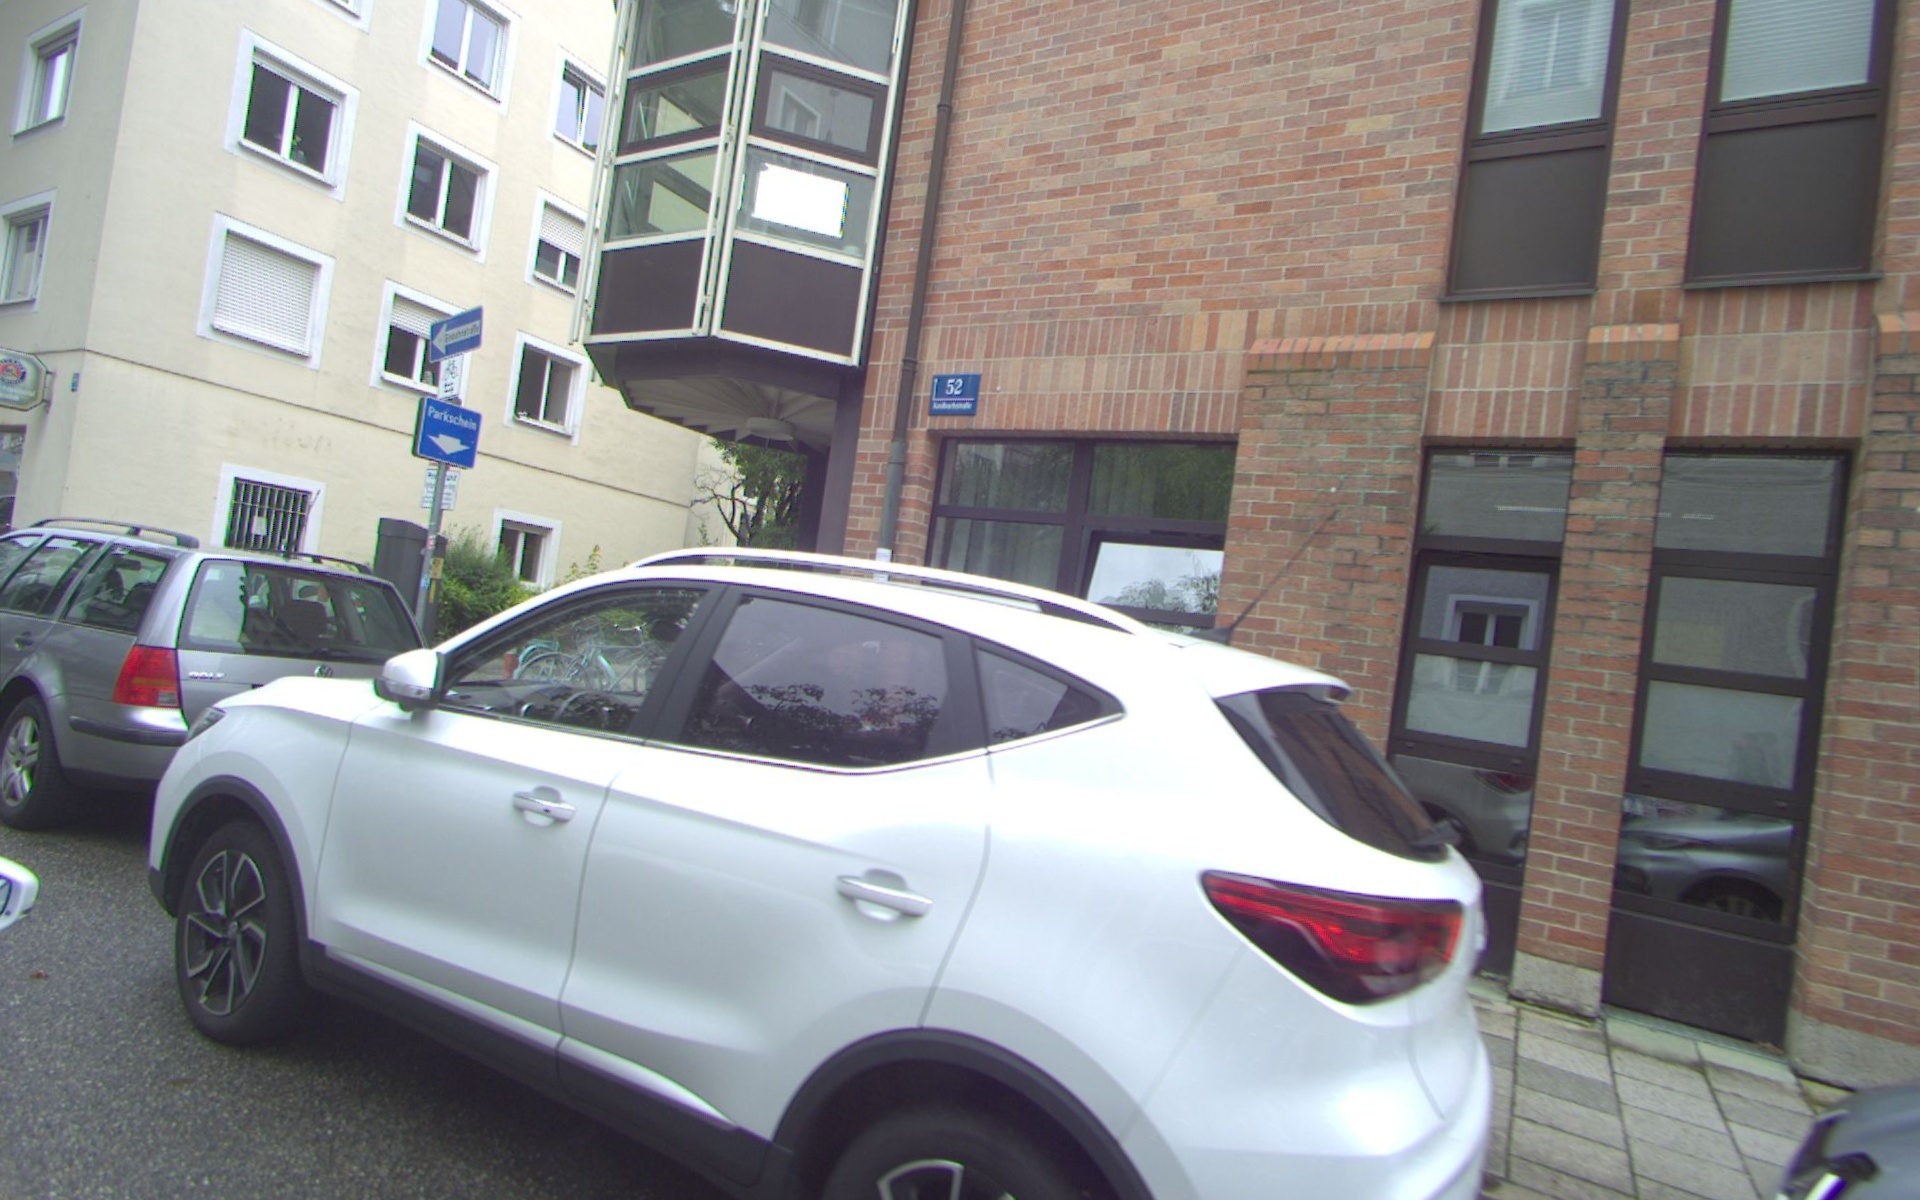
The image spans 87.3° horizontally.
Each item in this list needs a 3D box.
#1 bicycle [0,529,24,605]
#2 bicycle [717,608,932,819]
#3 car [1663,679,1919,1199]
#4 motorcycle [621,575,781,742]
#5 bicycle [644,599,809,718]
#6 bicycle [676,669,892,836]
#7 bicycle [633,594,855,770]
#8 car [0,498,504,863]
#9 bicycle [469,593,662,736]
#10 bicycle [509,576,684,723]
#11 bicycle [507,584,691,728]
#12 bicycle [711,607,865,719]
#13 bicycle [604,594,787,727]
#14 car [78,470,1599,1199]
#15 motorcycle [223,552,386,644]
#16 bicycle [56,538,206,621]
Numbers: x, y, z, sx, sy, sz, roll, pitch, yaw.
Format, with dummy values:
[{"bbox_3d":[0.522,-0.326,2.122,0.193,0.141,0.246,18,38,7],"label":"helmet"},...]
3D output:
[{"bbox_3d":[-14.267,-0.542,14.628,1.677,1.038,0.475,6,0,32],"label":"bicycle"},{"bbox_3d":[-1.016,0.783,7.355,1.527,1.291,0.379,6,-1,32],"label":"bicycle"},{"bbox_3d":[3.087,1.147,0.852,3.814,1.654,1.725,6,-1,28],"label":"car"},{"bbox_3d":[-2.428,0.570,9.602,0.465,1.437,1.474,7,0,28],"label":"motorcycle"},{"bbox_3d":[-2.895,0.720,12.497,1.794,1.204,0.506,8,-2,10],"label":"bicycle"},{"bbox_3d":[-1.249,1.018,6.997,1.516,0.884,0.385,6,-1,32],"label":"bicycle"},{"bbox_3d":[-1.751,0.699,8.303,1.628,1.291,0.376,8,-1,-32],"label":"bicycle"},{"bbox_3d":[-4.808,0.273,5.955,3.932,1.461,1.749,7,-3,30],"label":"car"},{"bbox_3d":[-3.679,0.597,9.418,1.523,1.091,0.380,8,-2,3],"label":"bicycle"},{"bbox_3d":[-3.765,0.510,10.455,1.523,1.291,0.380,8,-1,3],"label":"bicycle"},{"bbox_3d":[-3.510,0.542,9.836,1.523,1.172,0.380,8,-1,3],"label":"bicycle"},{"bbox_3d":[-2.263,0.826,13.301,1.794,1.204,0.506,8,-2,10],"label":"bicycle"},{"bbox_3d":[-2.951,0.670,11.275,1.794,1.204,0.506,8,-2,10],"label":"bicycle"},{"bbox_3d":[-0.628,0.678,3.112,4.125,1.649,1.753,7,-2,29],"label":"car"},{"bbox_3d":[-10.081,-0.013,15.534,1.896,1.120,0.622,9,-2,-11],"label":"motorcycle"},{"bbox_3d":[-11.910,-0.270,14.495,0.468,1.038,1.538,7,0,29],"label":"bicycle"}]
